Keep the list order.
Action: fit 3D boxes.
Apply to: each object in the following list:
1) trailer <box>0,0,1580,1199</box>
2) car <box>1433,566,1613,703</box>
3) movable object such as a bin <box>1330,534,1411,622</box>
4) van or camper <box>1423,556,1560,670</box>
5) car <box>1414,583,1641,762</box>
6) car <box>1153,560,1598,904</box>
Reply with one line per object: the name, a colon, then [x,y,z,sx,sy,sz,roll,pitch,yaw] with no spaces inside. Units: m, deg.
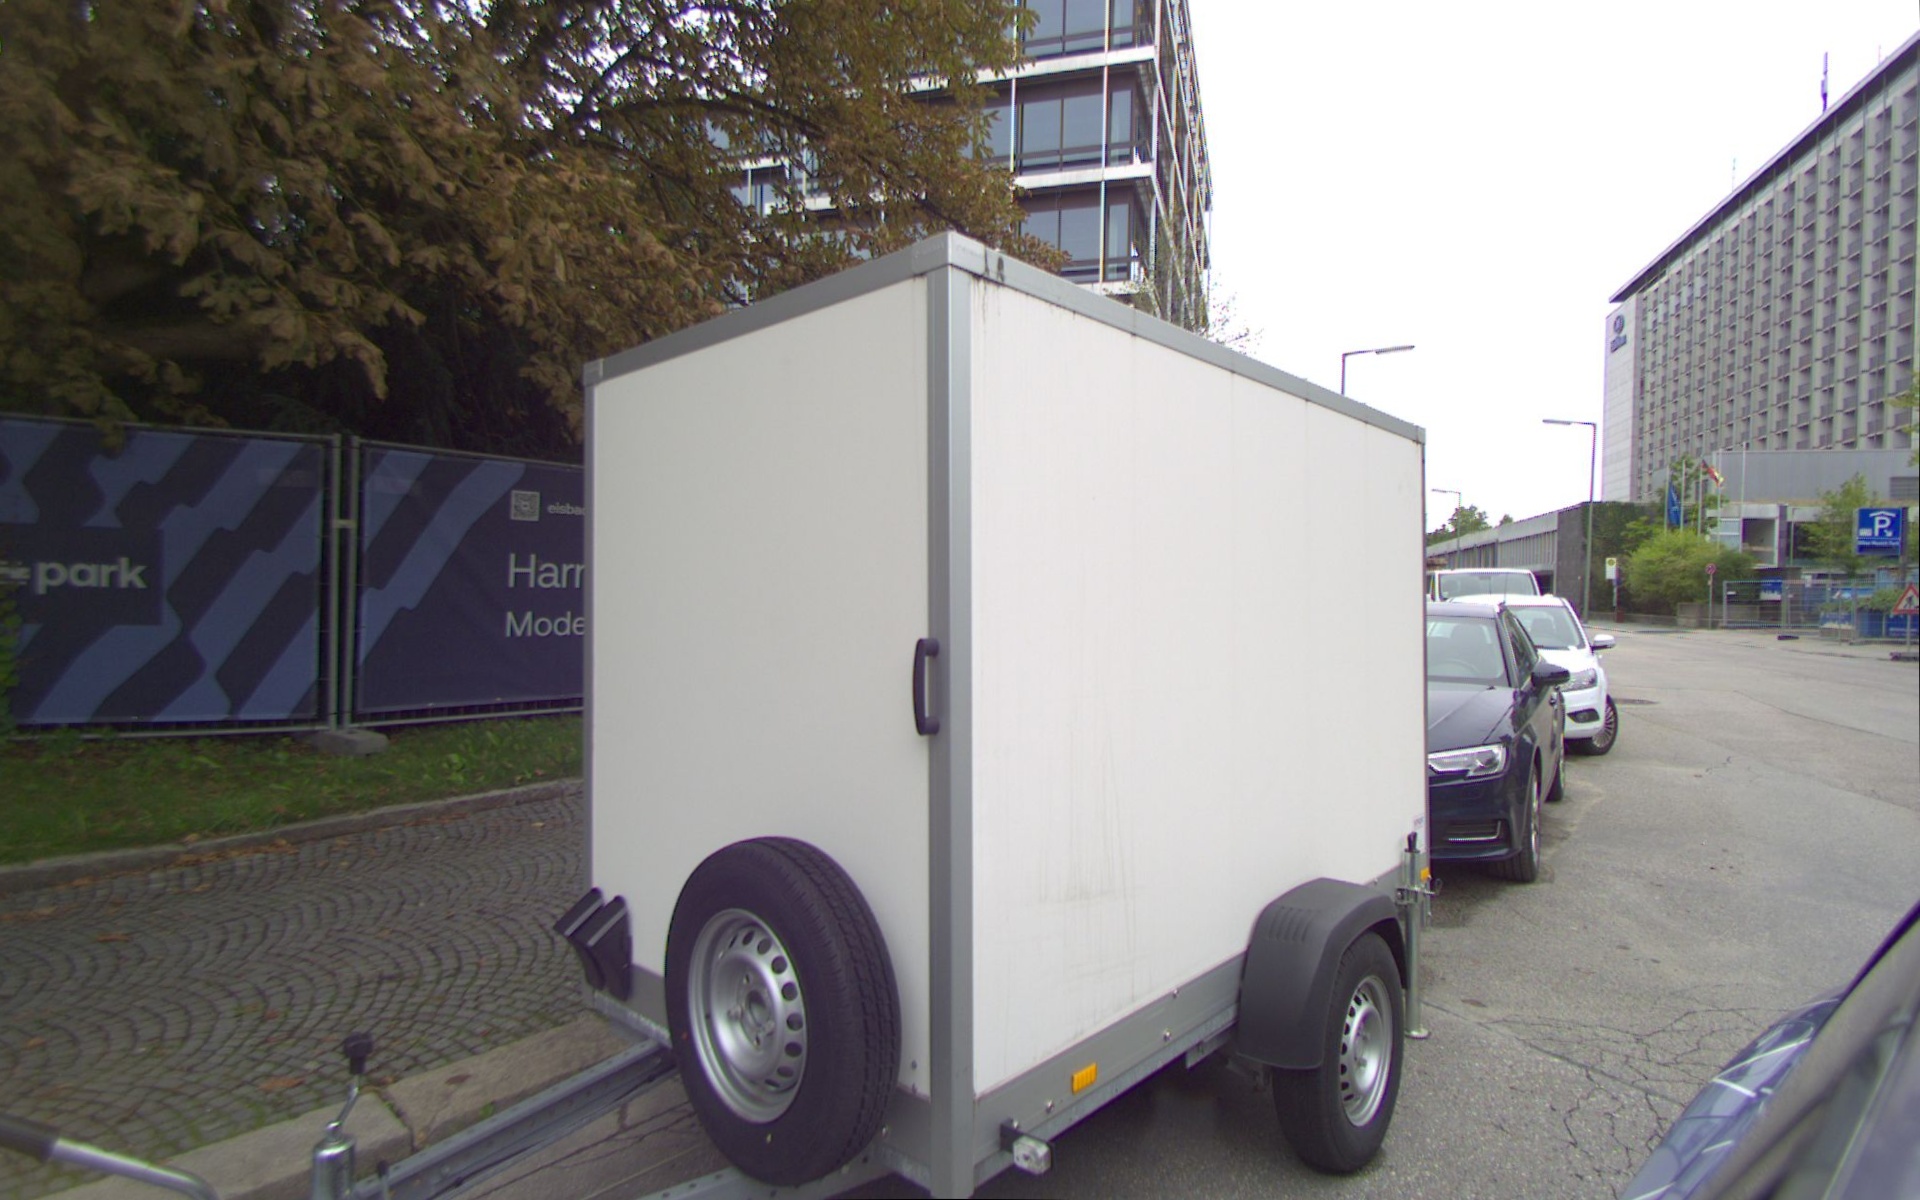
trailer: [-0.198,0.220,2.432,1.810,2.038,4.756,2,2,45]
car: [8.382,0.386,15.462,1.979,1.749,4.413,1,2,24]
movable object such as a bin: [19.451,-1.078,48.006,3.214,3.762,8.941,1,2,22]
van or camper: [10.827,0.166,20.994,1.977,2.038,5.336,1,2,22]
car: [6.092,0.595,10.929,1.757,1.504,4.176,2,1,30]
car: [3.018,0.548,6.696,1.866,1.455,4.275,3,2,34]
